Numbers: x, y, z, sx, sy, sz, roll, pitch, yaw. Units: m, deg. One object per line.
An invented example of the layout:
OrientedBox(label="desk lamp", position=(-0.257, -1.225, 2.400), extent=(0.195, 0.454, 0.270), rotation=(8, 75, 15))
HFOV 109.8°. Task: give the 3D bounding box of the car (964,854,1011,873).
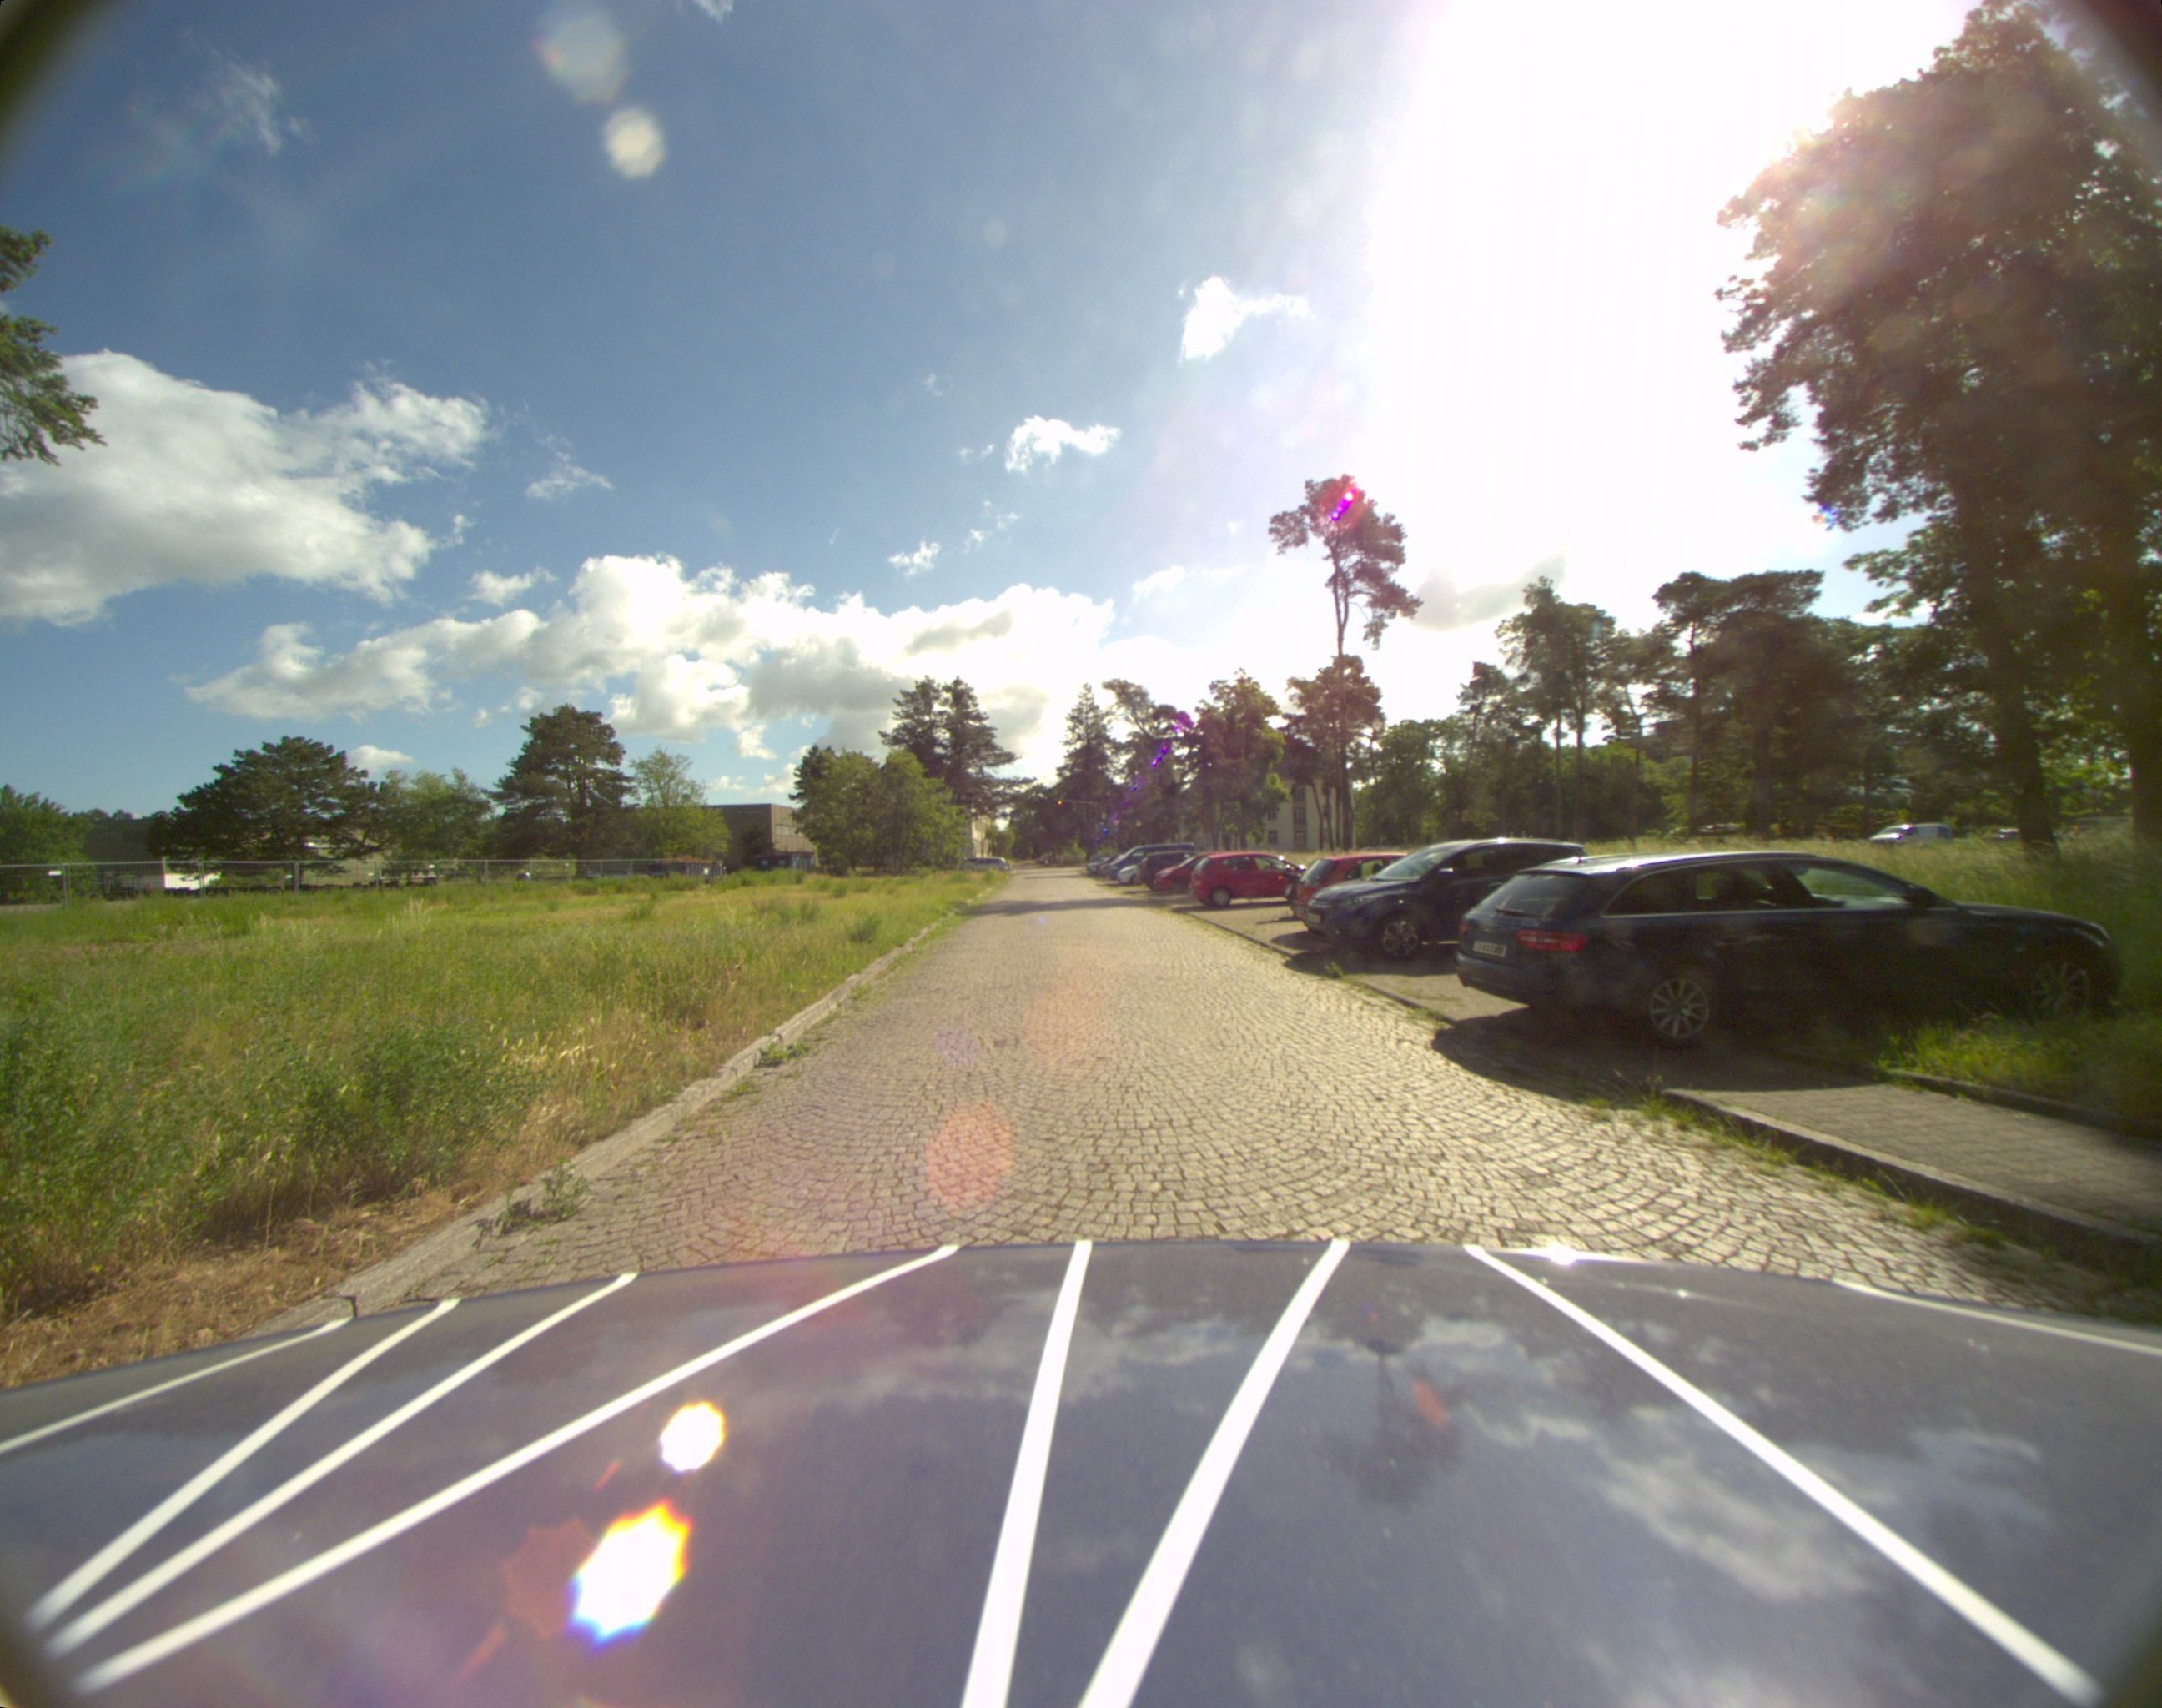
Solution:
OrientedBox(label="car", position=(-7.715, 0.774, 62.862), extent=(3.751, 1.468, 1.751), rotation=(1, 1, -5))

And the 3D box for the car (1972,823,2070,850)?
OrientedBox(label="car", position=(61.894, -1.142, 50.065), extent=(4.240, 1.596, 1.912), rotation=(-1, 1, -2))

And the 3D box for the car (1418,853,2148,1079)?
OrientedBox(label="car", position=(5.482, 0.805, 6.423), extent=(4.371, 1.436, 1.920), rotation=(-3, 0, 0))

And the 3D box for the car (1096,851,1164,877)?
OrientedBox(label="car", position=(3.119, 0.599, 48.786), extent=(4.088, 1.417, 1.922), rotation=(-3, 0, -2))

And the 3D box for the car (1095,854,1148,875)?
OrientedBox(label="car", position=(2.862, 0.721, 54.336), extent=(3.640, 1.227, 1.759), rotation=(-3, 2, -2))

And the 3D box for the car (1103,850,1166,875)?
OrientedBox(label="car", position=(3.609, 0.562, 51.700), extent=(4.088, 1.444, 1.821), rotation=(-3, 2, -2))

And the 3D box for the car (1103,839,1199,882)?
OrientedBox(label="car", position=(3.694, 0.342, 40.591), extent=(4.731, 1.956, 2.004), rotation=(-3, 1, -3))

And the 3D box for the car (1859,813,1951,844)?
OrientedBox(label="car", position=(61.304, -1.853, 56.564), extent=(4.859, 2.151, 1.956), rotation=(-1, 1, -2))

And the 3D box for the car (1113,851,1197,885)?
OrientedBox(label="car", position=(3.674, 0.669, 38.024), extent=(3.827, 1.432, 1.682), rotation=(-3, 1, -6))

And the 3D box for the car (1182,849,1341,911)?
OrientedBox(label="car", position=(5.007, 0.691, 21.417), extent=(3.934, 1.452, 1.841), rotation=(-3, 0, -5))

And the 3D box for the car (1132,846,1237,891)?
OrientedBox(label="car", position=(4.256, 0.598, 31.713), extent=(3.965, 1.558, 1.973), rotation=(-3, 0, -5))

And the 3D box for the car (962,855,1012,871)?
OrientedBox(label="car", position=(-8.747, 0.832, 70.792), extent=(4.526, 1.456, 1.837), rotation=(0, 1, -6))

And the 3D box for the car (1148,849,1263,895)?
OrientedBox(label="car", position=(4.698, 0.662, 29.003), extent=(3.934, 1.440, 1.866), rotation=(-3, 0, -5))

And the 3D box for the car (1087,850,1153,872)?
OrientedBox(label="car", position=(2.990, 0.534, 58.999), extent=(4.878, 1.413, 1.937), rotation=(-3, 2, -3))

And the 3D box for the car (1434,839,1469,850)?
OrientedBox(label="car", position=(53.303, -1.372, 109.341), extent=(4.106, 1.571, 1.719), rotation=(-1, 1, -1))

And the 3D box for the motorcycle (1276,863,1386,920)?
OrientedBox(label="motorcycle", position=(5.561, 0.827, 16.949), extent=(2.248, 1.155, 0.577), rotation=(-2, 1, -2))

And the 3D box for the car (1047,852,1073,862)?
OrientedBox(label="car", position=(-3.595, 0.513, 127.700), extent=(4.046, 1.514, 1.816), rotation=(-2, 1, -11))

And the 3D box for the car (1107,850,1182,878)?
OrientedBox(label="car", position=(3.813, 0.584, 45.937), extent=(4.208, 1.466, 1.823), rotation=(-3, 0, -3))

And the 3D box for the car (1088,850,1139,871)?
OrientedBox(label="car", position=(2.728, 0.544, 64.331), extent=(4.038, 1.474, 1.948), rotation=(-3, 0, -5))

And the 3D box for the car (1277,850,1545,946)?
OrientedBox(label="car", position=(5.739, 0.728, 13.561), extent=(3.934, 1.424, 1.842), rotation=(-3, 0, -2))

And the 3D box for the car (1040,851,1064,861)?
OrientedBox(label="car", position=(-5.520, 0.341, 144.965), extent=(4.228, 1.903, 1.816), rotation=(-2, 1, -13))

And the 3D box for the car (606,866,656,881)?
OrientedBox(label="car", position=(-46.552, 2.036, 78.665), extent=(3.998, 1.413, 1.745), rotation=(-2, -1, -3))

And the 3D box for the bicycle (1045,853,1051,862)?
OrientedBox(label="bicycle", position=(-4.714, 0.512, 109.415), extent=(0.621, 1.342, 2.113), rotation=(-4, 1, -7))

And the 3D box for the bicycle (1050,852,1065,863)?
OrientedBox(label="bicycle", position=(-3.460, 0.499, 112.833), extent=(2.114, 1.276, 0.621), rotation=(-7, 1, -6))

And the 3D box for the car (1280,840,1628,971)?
OrientedBox(label="car", position=(5.280, 0.685, 11.137), extent=(4.146, 1.570, 1.884), rotation=(-3, 0, -3))
